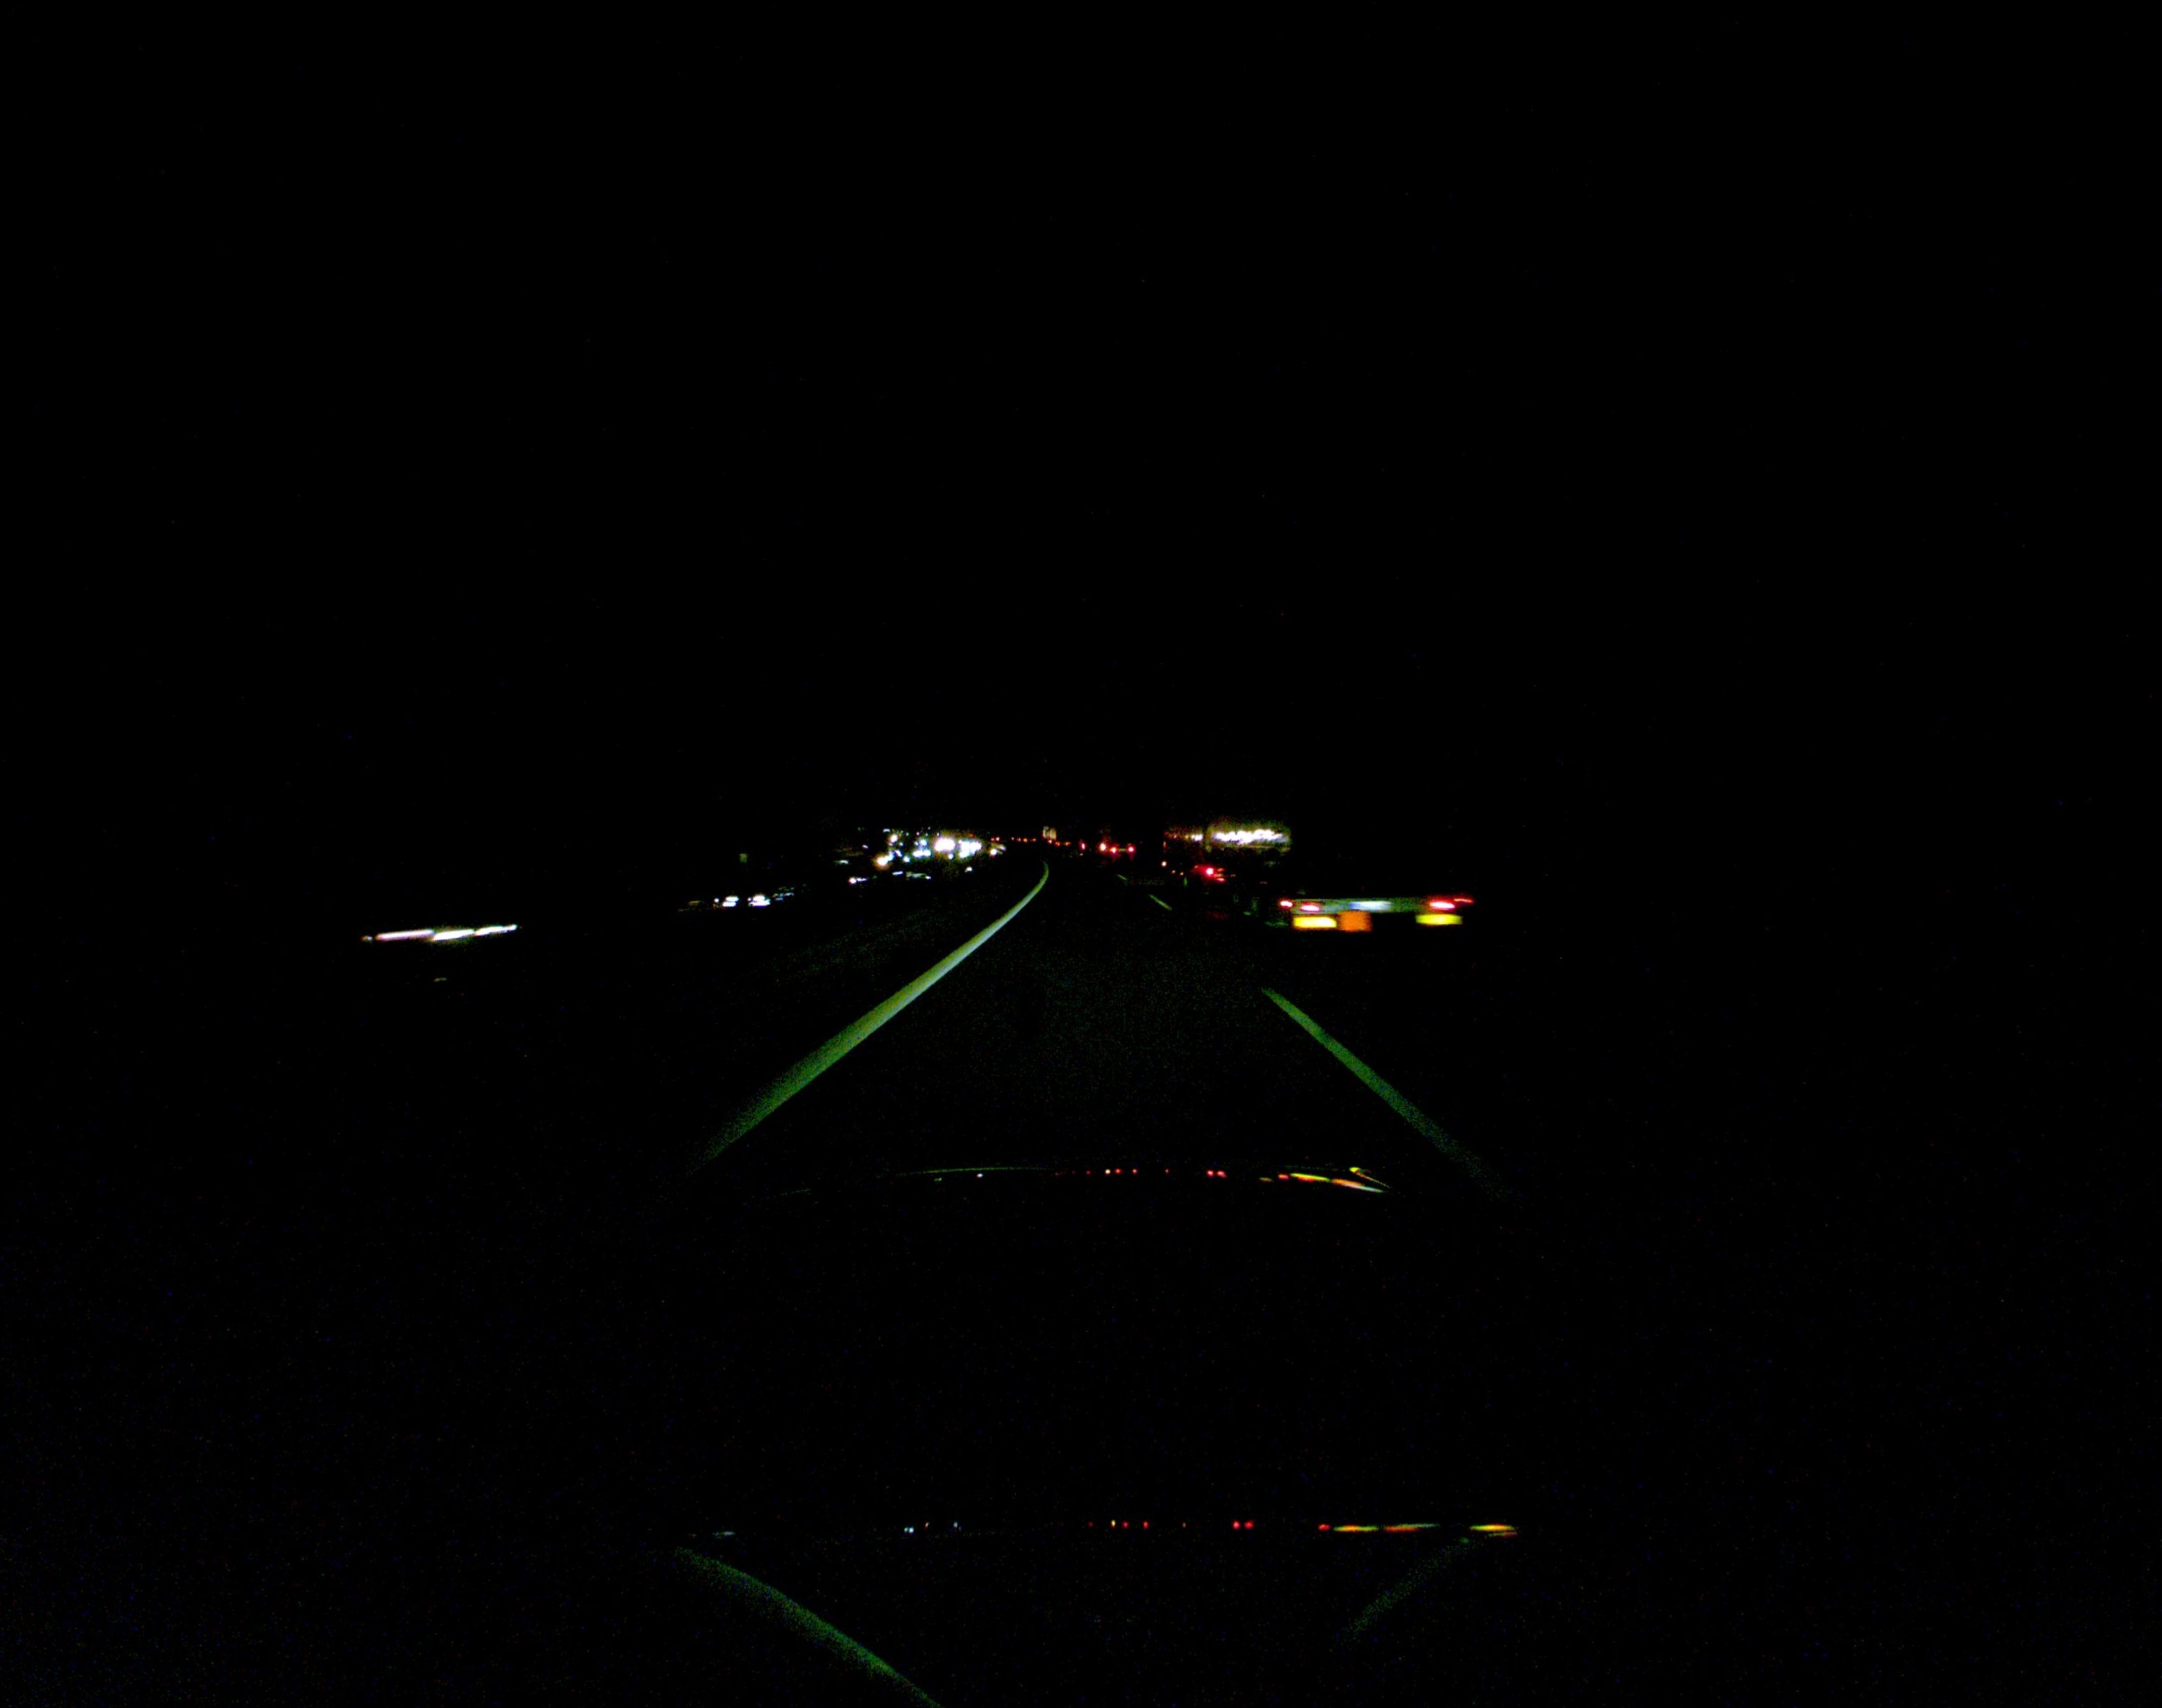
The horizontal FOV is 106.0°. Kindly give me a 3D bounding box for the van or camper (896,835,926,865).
[{"bbox_3d":[-18.166,-0.486,87.152,2.218,3.003,7.112,-1,1,-5],"label":"van or camper"}]

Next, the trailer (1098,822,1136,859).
[{"bbox_3d":[4.155,-1.680,97.662,2.849,4.066,13.185,-1,2,-5],"label":"trailer"}]

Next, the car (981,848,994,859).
[{"bbox_3d":[-11.439,-0.121,99.724,1.416,1.256,3.123,-1,1,-6],"label":"car"}]

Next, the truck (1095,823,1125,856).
[{"bbox_3d":[3.666,-1.878,103.423,2.857,4.076,7.499,-1,2,-5],"label":"truck"}]

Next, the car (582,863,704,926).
[{"bbox_3d":[-15.255,1.328,28.682,1.834,1.923,4.561,-3,0,-2],"label":"car"}]

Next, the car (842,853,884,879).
[{"bbox_3d":[-15.937,0.836,59.796,1.855,1.700,4.393,-3,0,0],"label":"car"}]

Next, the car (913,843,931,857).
[{"bbox_3d":[-19.908,-0.455,102.330,1.926,1.653,4.723,-1,0,-8],"label":"car"}]

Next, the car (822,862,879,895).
[{"bbox_3d":[-11.818,1.205,41.964,1.600,1.479,4.075,-3,0,1],"label":"car"}]

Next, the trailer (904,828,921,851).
[{"bbox_3d":[-33.288,-2.826,160.879,2.841,4.171,13.235,-4,2,-11],"label":"trailer"}]

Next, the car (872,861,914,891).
[{"bbox_3d":[-12.190,1.389,53.040,1.732,1.743,4.000,-3,0,0],"label":"car"}]

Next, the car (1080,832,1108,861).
[{"bbox_3d":[1.249,-0.690,77.420,2.326,2.640,5.254,0,0,5],"label":"car"}]

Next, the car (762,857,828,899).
[{"bbox_3d":[-14.968,1.183,42.915,1.990,1.959,4.979,-3,0,-4],"label":"car"}]

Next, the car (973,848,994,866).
[{"bbox_3d":[-9.181,0.238,76.699,1.677,1.566,3.994,-3,0,-4],"label":"car"}]

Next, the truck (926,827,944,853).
[{"bbox_3d":[-24.817,-2.410,138.461,2.866,4.210,6.084,-2,1,-11],"label":"truck"}]

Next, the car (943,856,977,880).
[{"bbox_3d":[-7.785,0.869,52.820,1.750,1.354,4.287,-2,1,-3],"label":"car"}]

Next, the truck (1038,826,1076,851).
[{"bbox_3d":[-5.025,-3.078,163.523,3.918,4.626,20.931,-2,1,-12],"label":"truck"}]

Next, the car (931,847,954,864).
[{"bbox_3d":[-13.224,0.148,77.690,1.637,1.483,4.358,-2,1,-3],"label":"car"}]

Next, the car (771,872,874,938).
[{"bbox_3d":[-7.625,1.433,24.503,1.750,1.545,4.710,-2,1,-3],"label":"car"}]

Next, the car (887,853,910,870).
[{"bbox_3d":[-17.965,0.747,80.466,1.638,1.539,4.429,-2,1,-6],"label":"car"}]

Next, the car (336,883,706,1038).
[{"bbox_3d":[-7.117,1.237,11.089,1.827,1.451,4.506,-2,0,1],"label":"car"}]

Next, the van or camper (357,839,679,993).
[{"bbox_3d":[-11.502,1.050,17.602,2.248,2.594,6.684,-3,0,-1],"label":"van or camper"}]

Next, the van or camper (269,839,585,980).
[{"bbox_3d":[-15.143,1.093,19.639,2.439,2.760,6.484,-2,0,-2],"label":"van or camper"}]

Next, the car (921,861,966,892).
[{"bbox_3d":[-7.155,1.153,42.704,1.750,1.354,4.630,-2,1,-3],"label":"car"}]

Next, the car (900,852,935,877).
[{"bbox_3d":[-12.291,0.745,61.415,1.990,1.660,4.447,-2,1,-4],"label":"car"}]

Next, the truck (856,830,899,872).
[{"bbox_3d":[-17.245,-0.292,69.331,2.373,3.260,7.705,-3,0,-7],"label":"truck"}]

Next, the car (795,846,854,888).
[{"bbox_3d":[-15.260,0.720,48.719,2.125,2.267,4.560,-2,1,-2],"label":"car"}]

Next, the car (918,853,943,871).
[{"bbox_3d":[-12.369,0.615,66.981,1.530,1.335,4.214,-2,1,-4],"label":"car"}]

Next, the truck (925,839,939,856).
[{"bbox_3d":[-22.949,-1.065,125.550,1.995,2.458,5.031,-2,1,-11],"label":"truck"}]

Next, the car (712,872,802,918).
[{"bbox_3d":[-11.691,1.434,29.668,1.744,1.452,3.839,-3,0,-1],"label":"car"}]

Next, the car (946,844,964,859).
[{"bbox_3d":[-14.250,-0.308,92.223,1.638,1.539,3.993,-2,1,-5],"label":"car"}]

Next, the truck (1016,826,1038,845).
[{"bbox_3d":[-13.603,-4.724,202.763,3.347,4.475,13.853,1,1,-12],"label":"truck"}]

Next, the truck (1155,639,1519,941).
[{"bbox_3d":[4.356,-0.850,20.499,3.470,4.135,18.708,0,0,1],"label":"truck"}]
